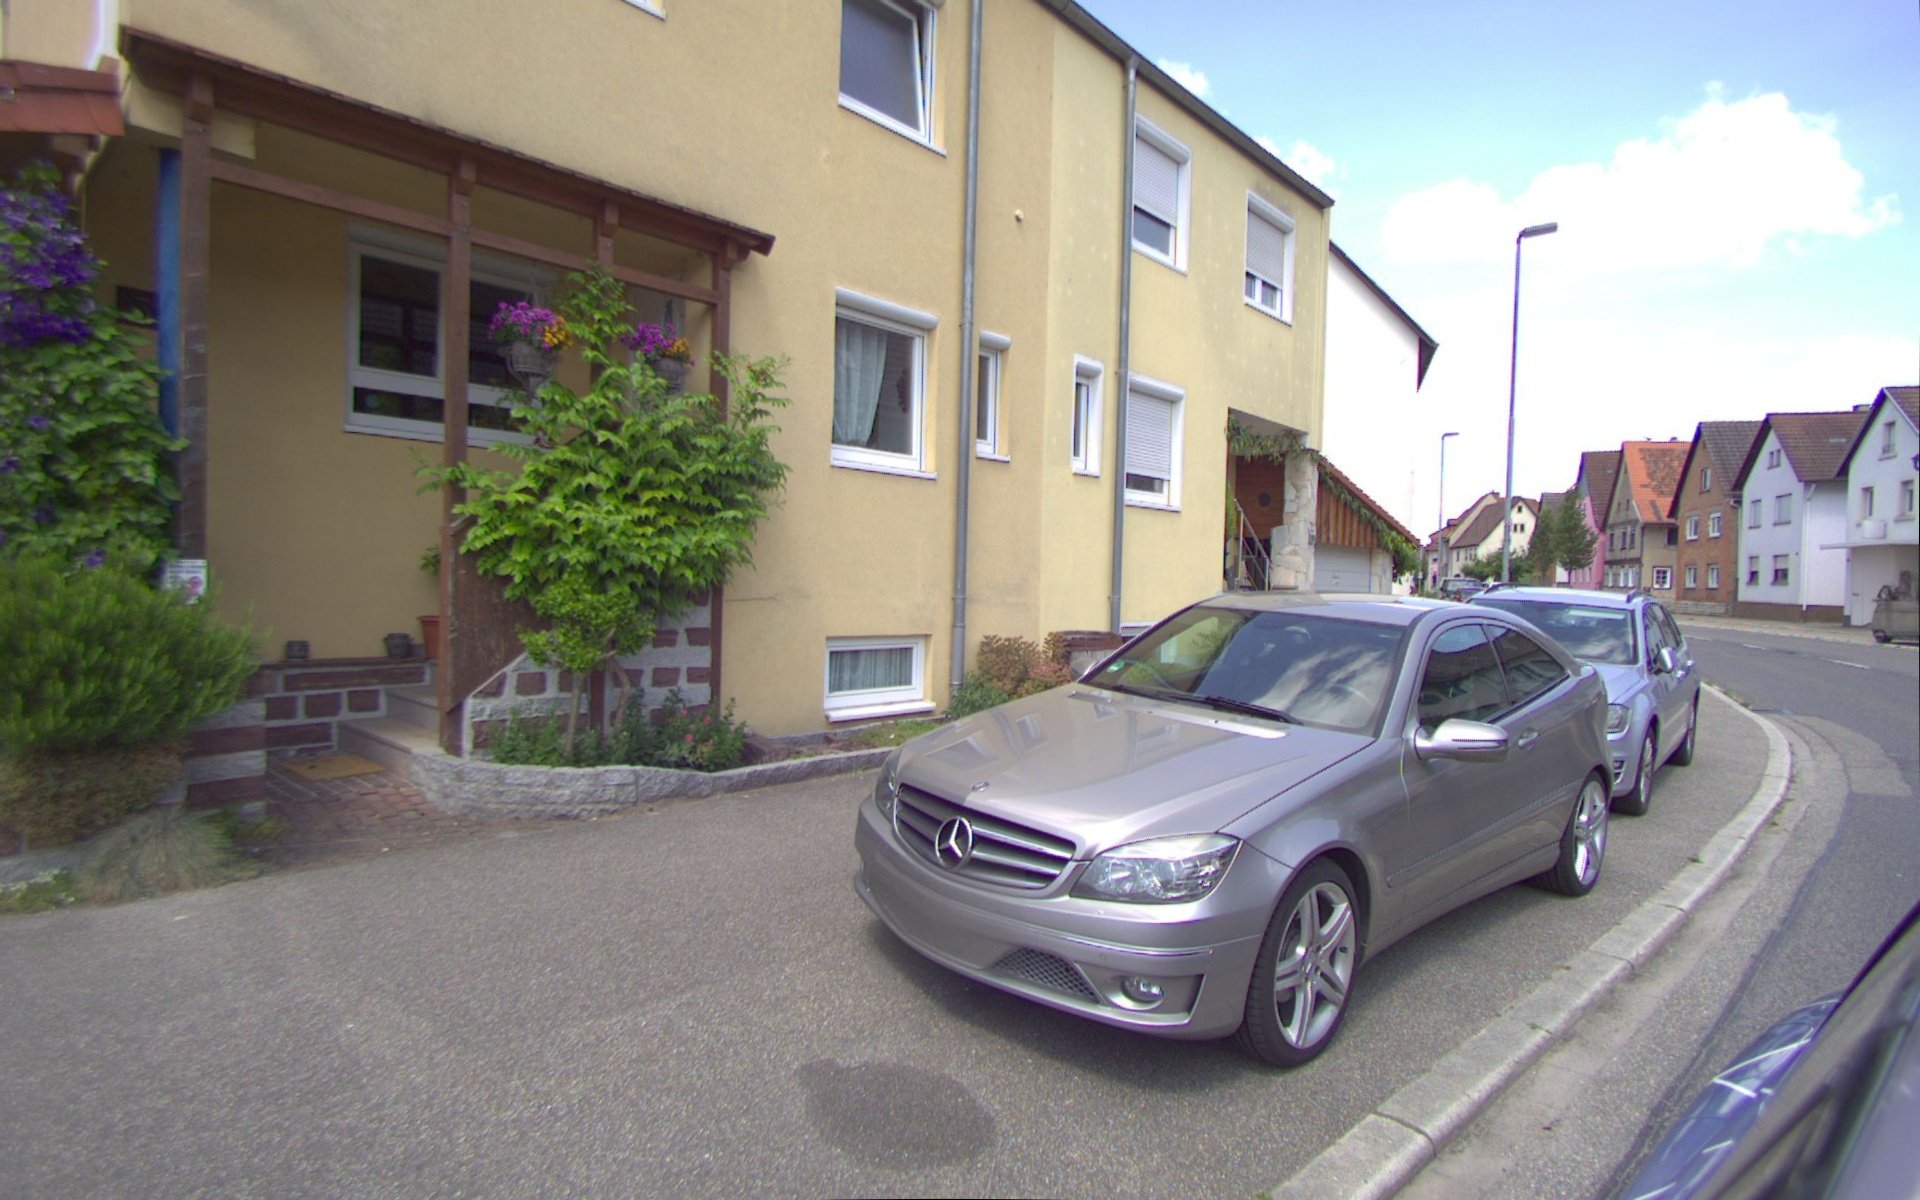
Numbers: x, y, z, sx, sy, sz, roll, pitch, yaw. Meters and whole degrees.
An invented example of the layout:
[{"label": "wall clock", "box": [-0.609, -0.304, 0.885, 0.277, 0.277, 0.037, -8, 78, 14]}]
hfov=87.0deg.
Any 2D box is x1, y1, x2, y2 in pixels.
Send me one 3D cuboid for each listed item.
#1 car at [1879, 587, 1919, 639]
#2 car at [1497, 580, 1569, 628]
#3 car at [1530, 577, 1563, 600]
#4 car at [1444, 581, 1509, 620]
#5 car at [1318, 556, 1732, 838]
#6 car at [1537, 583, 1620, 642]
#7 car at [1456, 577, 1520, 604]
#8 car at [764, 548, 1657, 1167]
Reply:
[{"label": "car", "box": [27.402, 0.352, 27.751, 1.789, 1.438, 4.516, 0, 0, 22]}, {"label": "car", "box": [20.111, 0.156, 35.641, 1.754, 1.549, 3.967, 1, -1, 23]}, {"label": "car", "box": [43.220, -0.876, 74.611, 1.665, 1.549, 3.474, 0, 2, 22]}, {"label": "car", "box": [23.036, 0.003, 45.243, 1.641, 1.668, 3.984, 0, 1, 13]}, {"label": "car", "box": [4.678, 0.514, 8.042, 1.885, 1.548, 4.269, 5, 4, 42]}, {"label": "car", "box": [17.143, 0.285, 28.190, 1.713, 1.402, 3.961, 2, 3, 29]}, {"label": "car", "box": [37.602, -0.714, 72.199, 1.962, 1.822, 4.937, -1, 2, 0]}, {"label": "car", "box": [1.475, 0.529, 4.536, 4.351, 1.416, 1.773, -2, 6, -43]}]
